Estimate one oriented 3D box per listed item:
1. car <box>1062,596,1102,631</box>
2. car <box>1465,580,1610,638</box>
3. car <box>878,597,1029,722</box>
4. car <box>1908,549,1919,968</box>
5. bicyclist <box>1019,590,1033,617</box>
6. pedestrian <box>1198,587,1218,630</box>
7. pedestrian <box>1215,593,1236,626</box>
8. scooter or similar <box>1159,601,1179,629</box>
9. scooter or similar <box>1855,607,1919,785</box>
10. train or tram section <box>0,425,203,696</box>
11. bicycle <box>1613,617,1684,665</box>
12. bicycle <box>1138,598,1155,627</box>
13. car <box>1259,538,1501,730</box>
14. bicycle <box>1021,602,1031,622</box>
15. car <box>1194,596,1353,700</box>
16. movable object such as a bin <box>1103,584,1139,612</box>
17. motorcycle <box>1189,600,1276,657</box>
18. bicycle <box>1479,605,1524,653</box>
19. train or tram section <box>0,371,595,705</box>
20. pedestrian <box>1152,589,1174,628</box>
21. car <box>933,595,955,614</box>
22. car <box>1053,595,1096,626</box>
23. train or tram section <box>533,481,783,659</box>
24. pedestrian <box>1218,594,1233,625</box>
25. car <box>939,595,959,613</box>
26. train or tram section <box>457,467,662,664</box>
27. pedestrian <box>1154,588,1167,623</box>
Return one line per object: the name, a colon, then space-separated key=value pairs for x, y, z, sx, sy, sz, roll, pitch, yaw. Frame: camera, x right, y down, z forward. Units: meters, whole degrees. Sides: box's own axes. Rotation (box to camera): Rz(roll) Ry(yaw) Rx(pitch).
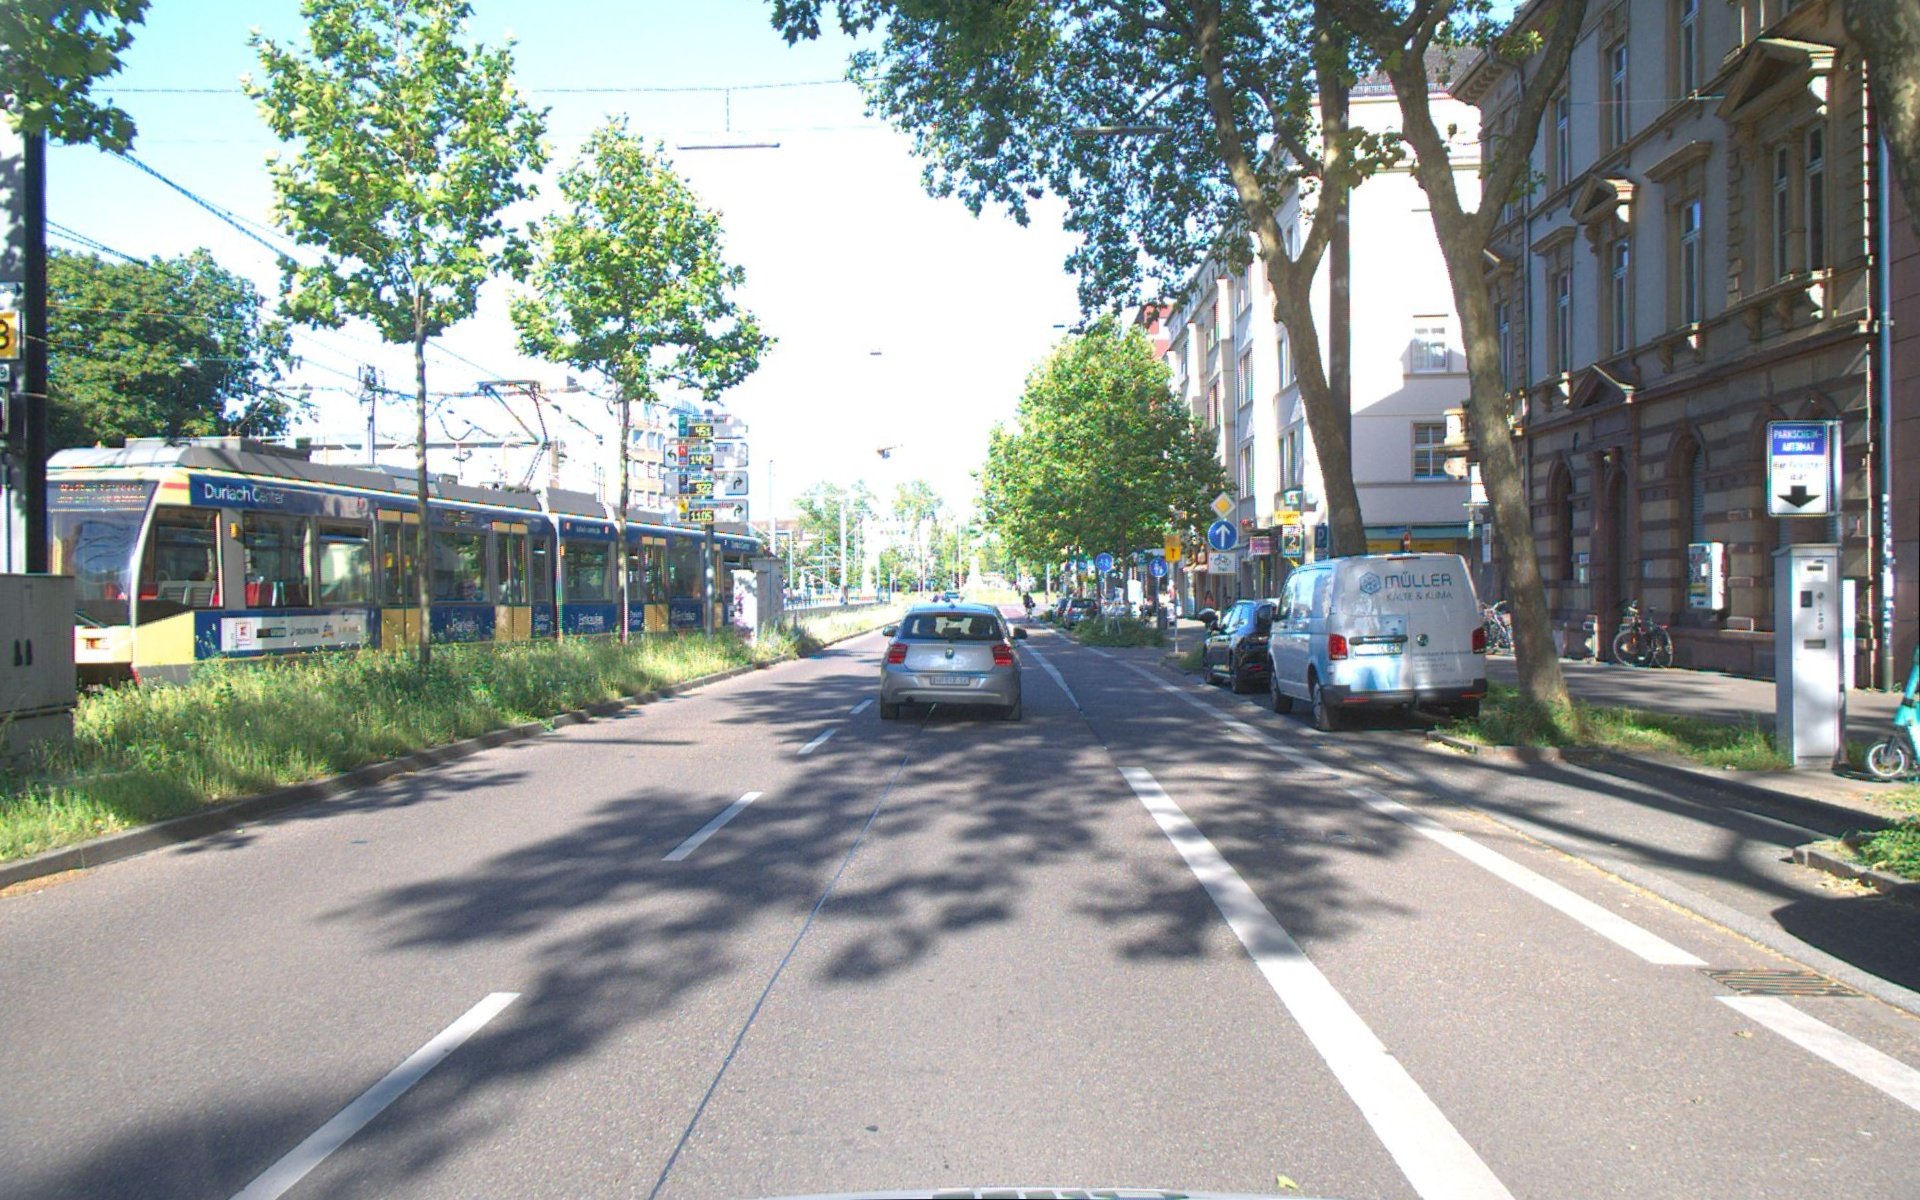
car: x=5.819 y=0.632 z=79.254 sx=1.660 sy=1.528 sz=3.802 roll=-3 pitch=0 yaw=1
car: x=17.663 y=0.263 z=50.698 sx=3.857 sy=1.500 sz=1.667 roll=3 pitch=0 yaw=5
car: x=-0.036 y=0.694 z=21.456 sx=1.761 sy=1.439 sz=4.001 roll=-1 pitch=0 yaw=1
car: x=4.406 y=0.618 z=4.224 sx=1.633 sy=1.598 sz=4.281 roll=1 pitch=0 yaw=2
bicyclist: x=3.798 y=0.202 z=94.750 sx=0.769 sy=1.558 sz=0.895 roll=1 pitch=0 yaw=1
pedestrian: x=9.555 y=0.340 z=63.717 sx=0.668 sy=1.650 sz=0.562 roll=1 pitch=0 yaw=-2
pedestrian: x=11.486 y=0.425 z=71.490 sx=0.769 sy=1.393 sz=0.857 roll=-1 pitch=0 yaw=1
scooter or similar: x=9.194 y=0.659 z=72.661 sx=0.729 sy=1.192 sz=0.849 roll=-1 pitch=0 yaw=-2
scooter or similar: x=7.374 y=0.677 z=11.987 sx=1.508 sy=1.259 sz=0.449 roll=-1 pitch=0 yaw=1
train or tram section: x=-13.928 y=-0.504 z=16.822 sx=2.903 sy=3.544 sz=21.215 roll=1 pitch=0 yaw=-1
bicycle: x=12.081 y=0.713 z=29.065 sx=0.537 sy=0.787 sz=1.663 roll=-2 pitch=0 yaw=1
bicycle: x=8.057 y=0.534 z=71.383 sx=0.377 sy=1.228 sz=1.874 roll=-1 pitch=0 yaw=16
car: x=5.012 y=0.369 z=20.401 sx=1.818 sy=2.049 sz=4.724 roll=1 pitch=0 yaw=1
bicycle: x=3.794 y=0.686 z=94.705 sx=0.489 sy=1.107 sz=1.997 roll=1 pitch=0 yaw=1
car: x=5.136 y=0.735 z=27.703 sx=1.781 sy=1.541 sz=4.708 roll=1 pitch=0 yaw=0
movable object such as a bin: x=11.267 y=-0.122 z=116.195 sx=1.907 sy=1.875 sz=3.477 roll=-1 pitch=1 yaw=-5
motorcycle: x=6.296 y=0.657 z=38.222 sx=1.910 sy=1.252 sz=0.515 roll=1 pitch=0 yaw=-3
bicycle: x=11.939 y=0.625 z=36.507 sx=0.406 sy=1.015 sz=1.882 roll=0 pitch=0 yaw=1
train or tram section: x=-9.858 y=-0.730 z=26.530 sx=2.866 sy=3.878 sz=14.284 roll=1 pitch=0 yaw=8
pedestrian: x=9.046 y=0.373 z=73.737 sx=0.841 sy=1.734 sz=0.916 roll=0 pitch=0 yaw=-2
car: x=-1.298 y=0.353 z=135.031 sx=1.691 sy=1.496 sz=4.409 roll=0 pitch=0 yaw=-2
car: x=5.990 y=0.541 z=86.845 sx=1.996 sy=1.535 sz=4.594 roll=0 pitch=0 yaw=1
train or tram section: x=-7.418 y=-0.681 z=42.710 sx=2.890 sy=3.965 sz=10.811 roll=1 pitch=0 yaw=9
pedestrian: x=11.609 y=0.413 z=72.372 sx=0.524 sy=1.356 sz=0.820 roll=-1 pitch=0 yaw=1
car: x=-0.976 y=0.341 z=143.145 sx=1.610 sy=1.446 sz=4.000 roll=1 pitch=0 yaw=1
train or tram section: x=-8.485 y=-0.707 z=35.487 sx=2.892 sy=3.965 sz=3.869 roll=1 pitch=0 yaw=10
pedestrian: x=10.021 y=0.293 z=82.761 sx=0.546 sy=1.741 sz=0.770 roll=-1 pitch=0 yaw=1
